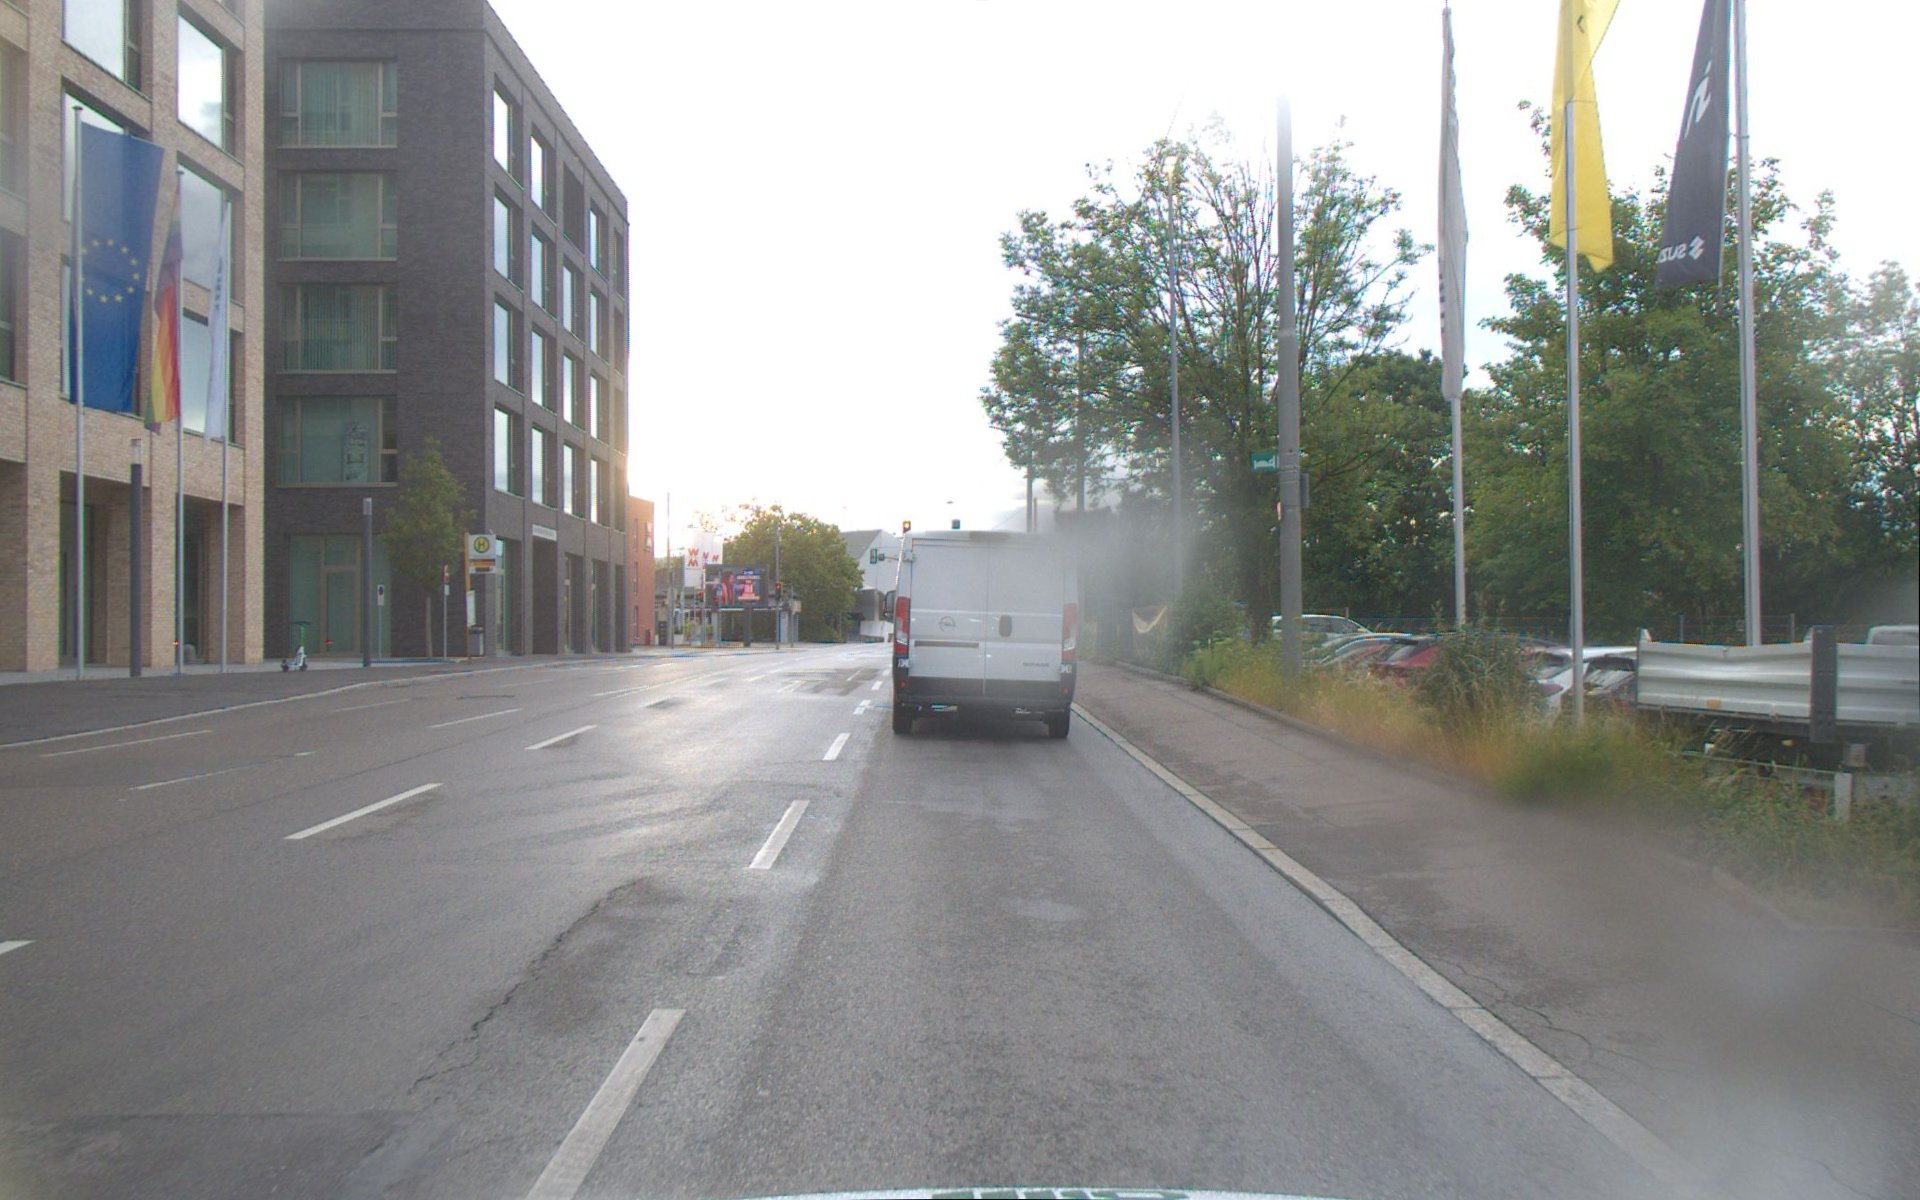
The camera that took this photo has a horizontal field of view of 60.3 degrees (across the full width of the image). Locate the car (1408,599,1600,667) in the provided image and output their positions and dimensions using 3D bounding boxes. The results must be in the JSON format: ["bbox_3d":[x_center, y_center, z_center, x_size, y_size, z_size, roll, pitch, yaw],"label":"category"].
[{"bbox_3d":[12.788,0.761,39.002,3.910,1.548,1.801,0,0,-6],"label":"car"}]

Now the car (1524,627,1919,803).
[{"bbox_3d":[7.462,1.019,15.335,3.784,1.479,1.915,0,0,-5],"label":"car"}]

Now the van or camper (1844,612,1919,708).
[{"bbox_3d":[19.617,1.201,32.068,1.953,1.819,5.616,1,1,0],"label":"van or camper"}]

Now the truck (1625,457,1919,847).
[{"bbox_3d":[7.022,0.281,10.010,5.045,2.049,2.344,1,1,-3],"label":"truck"}]

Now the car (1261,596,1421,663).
[{"bbox_3d":[10.593,0.797,46.150,3.911,1.548,1.801,-4,0,-6],"label":"car"}]

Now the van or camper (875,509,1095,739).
[{"bbox_3d":[0.267,0.228,19.976,2.292,2.398,5.199,1,0,0],"label":"van or camper"}]

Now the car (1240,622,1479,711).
[{"bbox_3d":[7.306,1.200,30.463,3.910,1.548,1.801,0,0,-6],"label":"car"}]

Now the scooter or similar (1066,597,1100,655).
[{"bbox_3d":[3.439,0.715,46.466,0.428,1.591,1.264,0,0,-22],"label":"scooter or similar"}]

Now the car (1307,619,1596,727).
[{"bbox_3d":[7.475,1.088,25.394,3.906,1.548,1.803,0,0,-1],"label":"car"}]

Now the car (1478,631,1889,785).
[{"bbox_3d":[7.748,1.131,17.970,3.687,1.520,1.811,0,0,1],"label":"car"}]

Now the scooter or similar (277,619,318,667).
[{"bbox_3d":[-15.305,1.001,38.234,0.343,1.090,1.428,0,-2,0],"label":"scooter or similar"}]

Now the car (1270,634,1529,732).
[{"bbox_3d":[7.385,1.376,28.052,3.906,1.548,1.803,0,0,-1],"label":"car"}]

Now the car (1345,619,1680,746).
[{"bbox_3d":[7.561,1.105,22.886,4.045,1.616,1.760,1,0,-1],"label":"car"}]

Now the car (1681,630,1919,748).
[{"bbox_3d":[12.221,1.219,23.116,3.615,1.545,1.558,0,0,-1],"label":"car"}]

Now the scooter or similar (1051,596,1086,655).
[{"bbox_3d":[3.032,0.701,46.283,0.428,1.615,1.264,0,0,-23],"label":"scooter or similar"}]

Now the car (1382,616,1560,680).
[{"bbox_3d":[12.815,1.192,41.613,3.910,1.548,1.801,0,0,-6],"label":"car"}]

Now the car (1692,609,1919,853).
[{"bbox_3d":[7.797,0.941,12.676,3.618,1.700,1.735,0,0,-5],"label":"car"}]

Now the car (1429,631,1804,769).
[{"bbox_3d":[7.965,1.197,20.298,3.906,1.534,1.760,1,0,-1],"label":"car"}]
